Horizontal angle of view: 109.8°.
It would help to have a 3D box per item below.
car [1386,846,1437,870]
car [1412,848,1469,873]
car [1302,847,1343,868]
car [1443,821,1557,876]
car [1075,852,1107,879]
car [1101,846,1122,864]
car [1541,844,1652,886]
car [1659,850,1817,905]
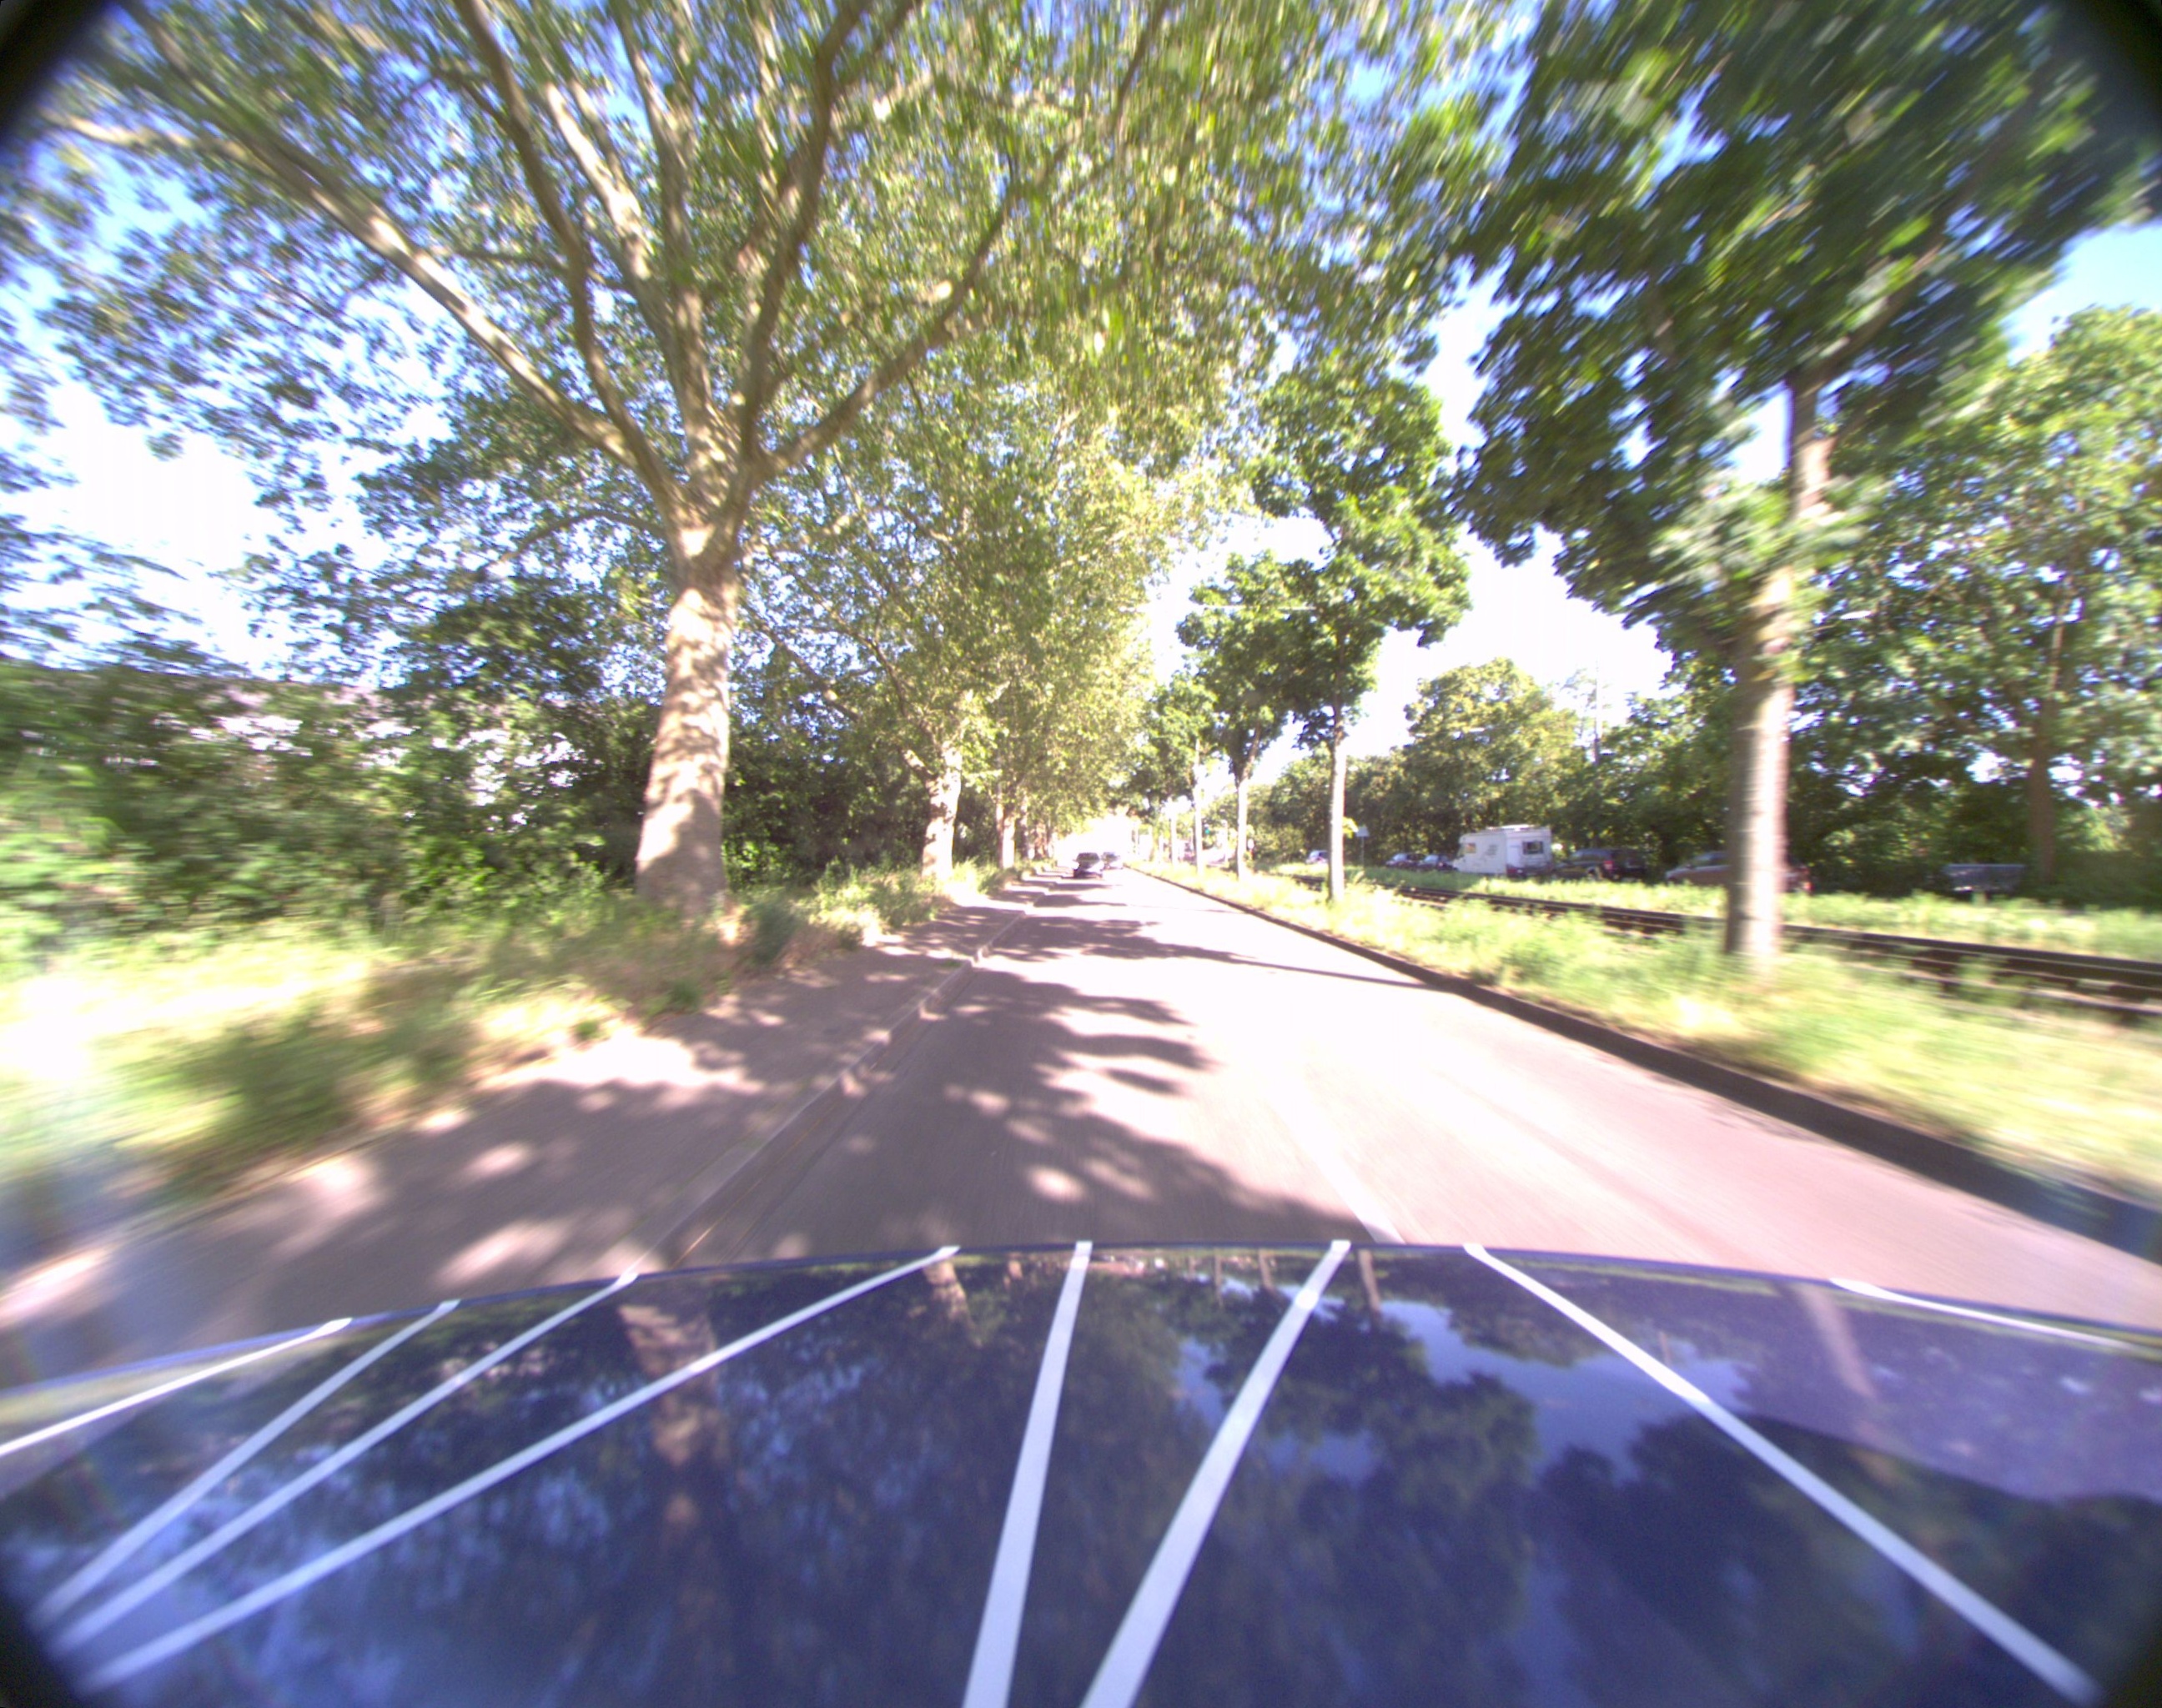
[{"bbox_3d":[22.275,0.241,51.387,1.772,1.554,4.282,-1,1,3],"label":"car"},{"bbox_3d":[22.096,0.386,46.841,1.715,1.426,4.000,-1,1,2],"label":"car"},{"bbox_3d":[18.075,0.237,56.994,1.731,1.519,4.442,-1,1,1],"label":"car"},{"bbox_3d":[21.517,-0.241,39.465,2.231,2.565,6.799,-1,0,1],"label":"car"},{"bbox_3d":[0.574,0.674,45.845,1.808,1.478,3.546,-1,1,0],"label":"car"},{"bbox_3d":[2.653,0.099,66.018,1.714,1.478,3.546,-1,1,2],"label":"car"},{"bbox_3d":[21.575,0.402,32.024,1.626,1.613,4.532,-1,1,0],"label":"car"},{"bbox_3d":[21.446,0.703,25.071,1.678,1.575,4.248,-1,1,2],"label":"car"}]
